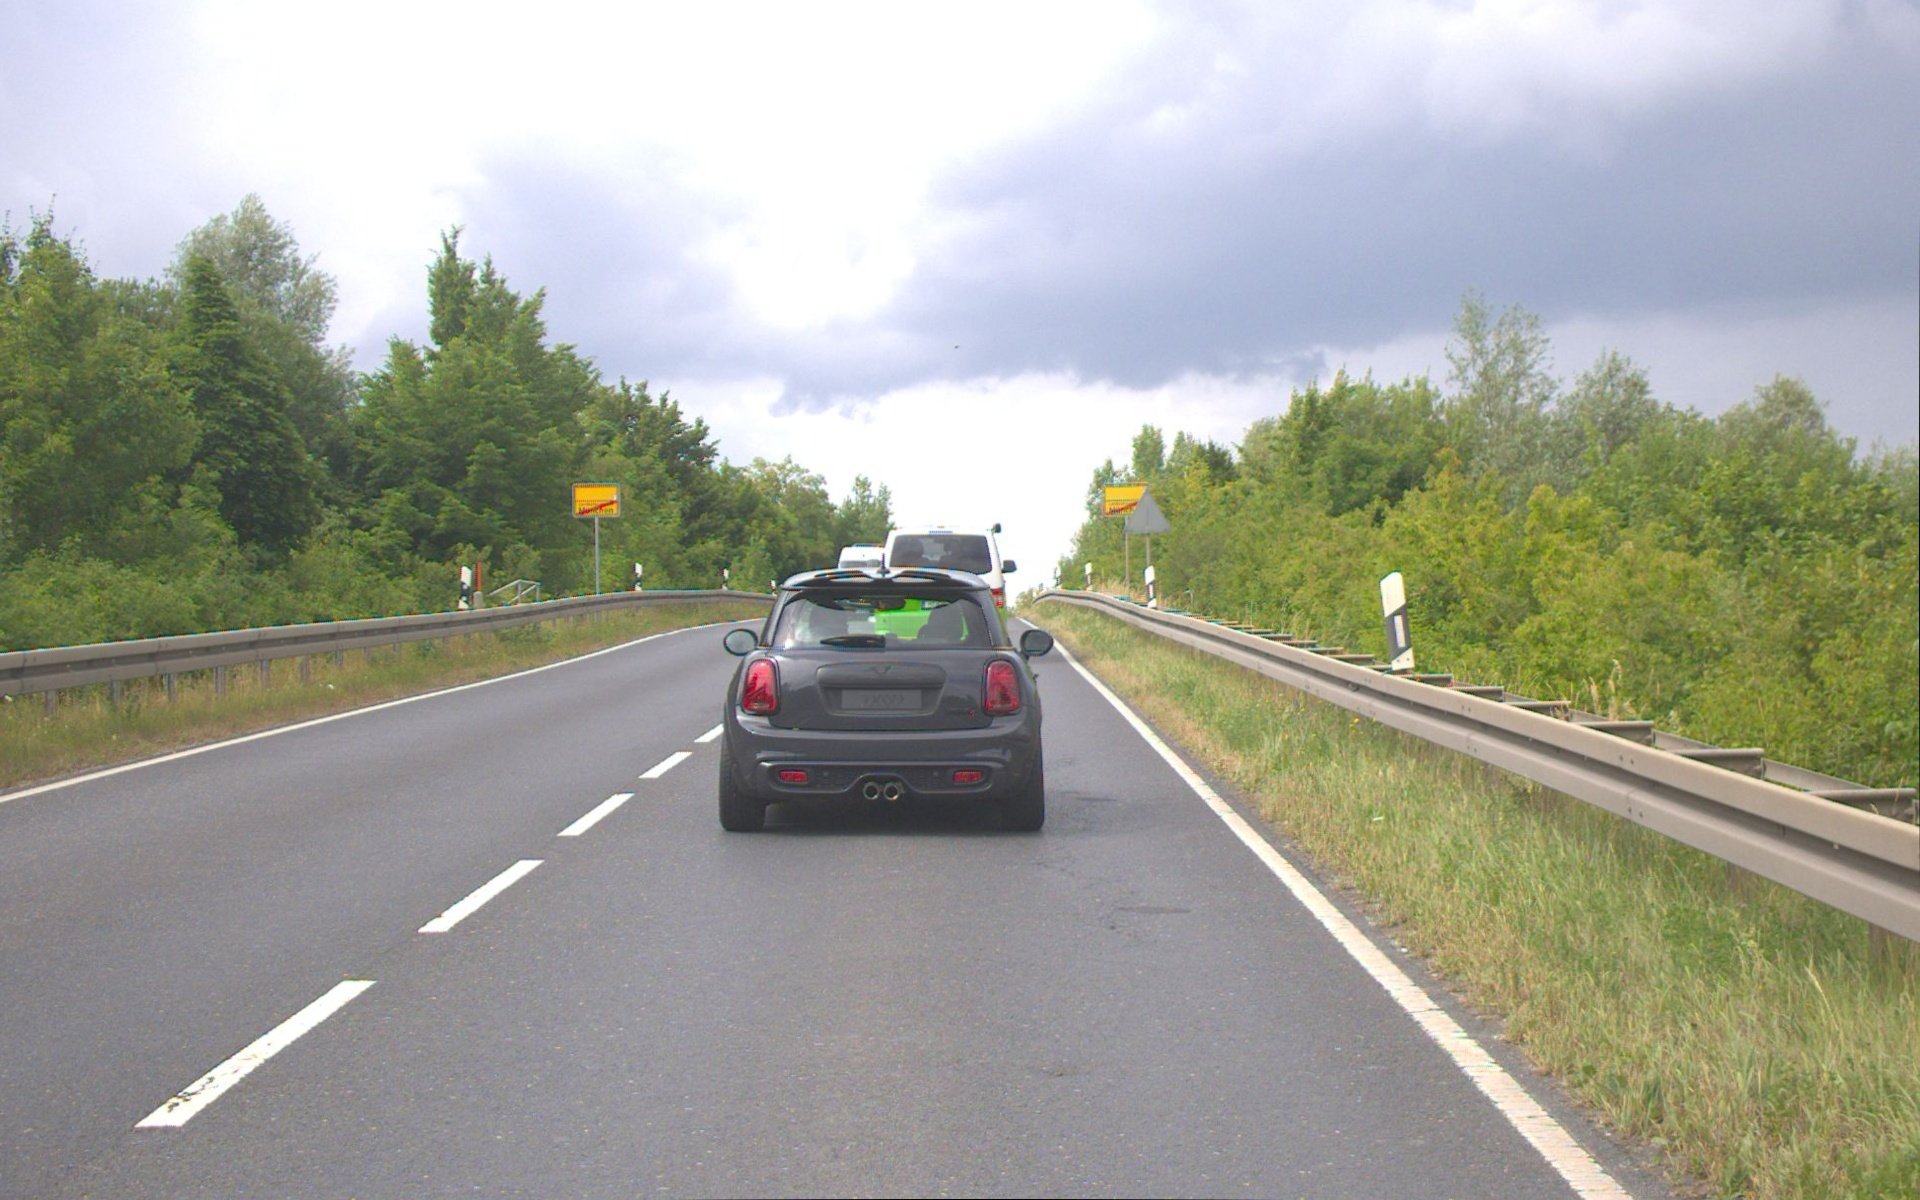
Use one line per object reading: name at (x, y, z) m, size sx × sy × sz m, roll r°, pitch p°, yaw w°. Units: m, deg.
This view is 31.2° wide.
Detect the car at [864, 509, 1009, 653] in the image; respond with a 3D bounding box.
car at (-0.319, -0.289, 50.087) m, size 2.022 × 2.006 × 4.000 m, roll 0°, pitch 1°, yaw 0°

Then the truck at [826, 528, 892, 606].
truck at (-3.631, -1.177, 124.957) m, size 2.065 × 2.733 × 7.006 m, roll -1°, pitch 0°, yaw 1°

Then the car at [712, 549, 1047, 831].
car at (-0.481, 0.435, 19.790) m, size 1.732 × 1.451 × 4.000 m, roll 0°, pitch 1°, yaw -2°

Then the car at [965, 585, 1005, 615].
car at (1.185, -0.010, 161.074) m, size 1.694 × 1.315 × 4.000 m, roll -2°, pitch 1°, yaw 2°
